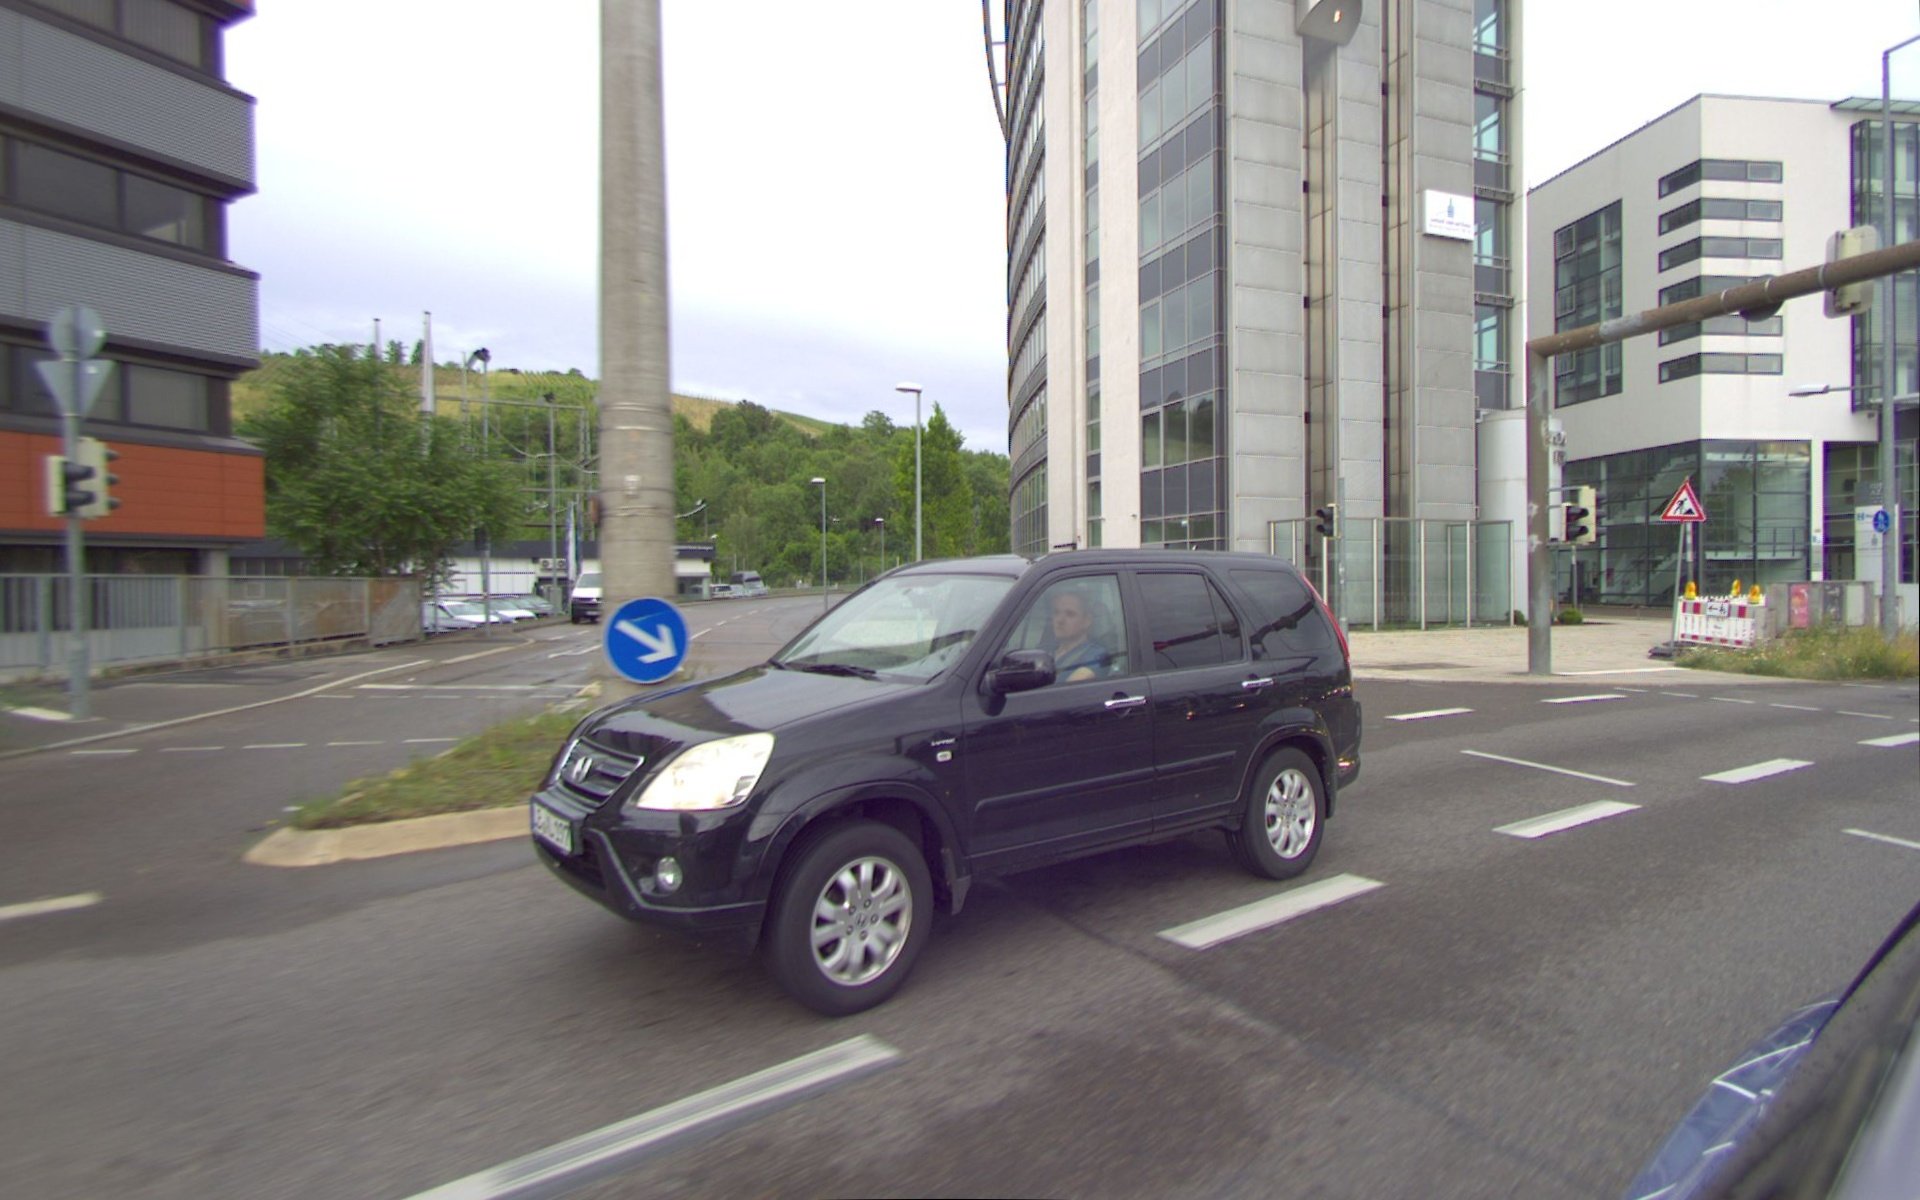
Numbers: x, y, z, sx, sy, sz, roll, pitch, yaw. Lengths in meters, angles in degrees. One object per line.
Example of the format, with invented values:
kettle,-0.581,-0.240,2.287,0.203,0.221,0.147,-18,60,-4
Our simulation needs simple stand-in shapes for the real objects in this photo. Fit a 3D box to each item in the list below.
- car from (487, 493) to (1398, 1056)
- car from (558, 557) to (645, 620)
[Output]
car,0.166,0.512,4.985,4.245,1.651,1.770,-1,-2,-37
car,-13.440,-0.393,38.309,1.960,1.939,5.089,8,-1,-9
